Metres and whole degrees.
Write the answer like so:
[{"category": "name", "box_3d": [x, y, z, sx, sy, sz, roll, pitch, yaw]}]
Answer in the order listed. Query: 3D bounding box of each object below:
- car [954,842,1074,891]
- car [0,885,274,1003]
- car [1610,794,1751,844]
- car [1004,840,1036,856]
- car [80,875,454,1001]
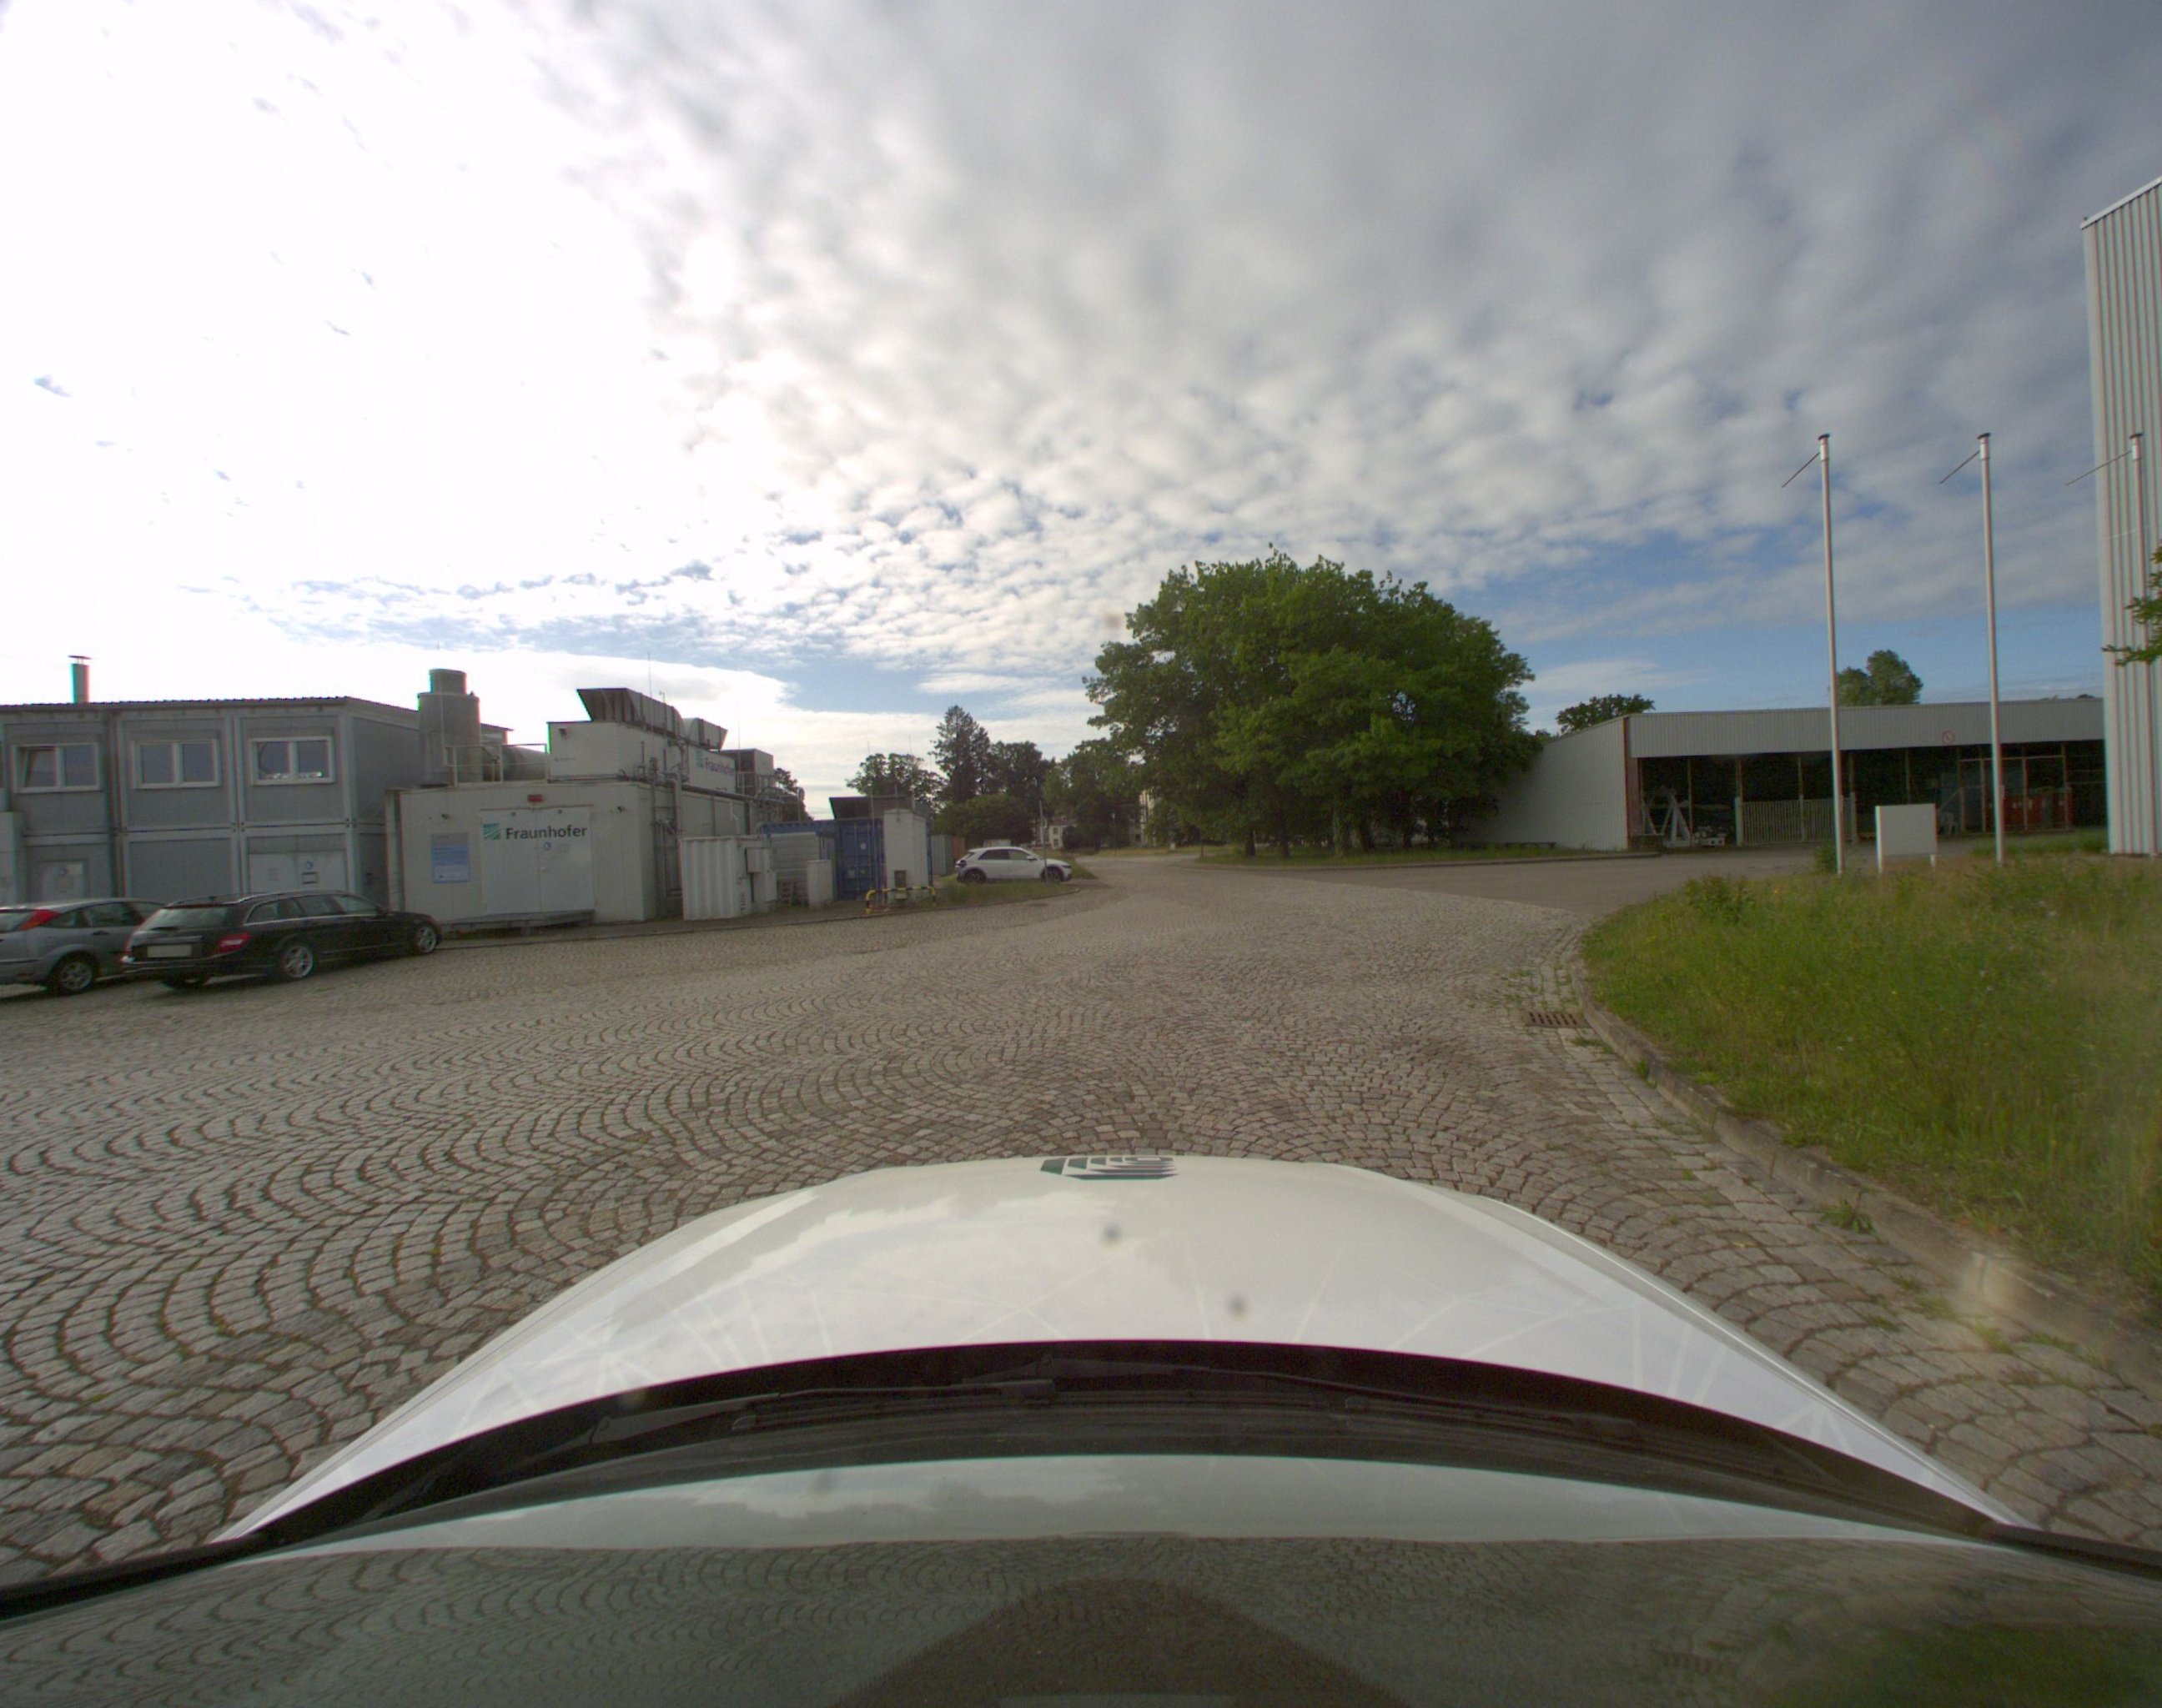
[{"category": "car", "box_3d": [-2.582, 0.468, 32.186, 4.523, 1.599, 1.998, -3, 0, -2]}, {"category": "car", "box_3d": [-16.805, 1.448, 14.042, 1.904, 1.475, 4.038, -3, 2, -6]}, {"category": "car", "box_3d": [27.460, -1.545, 37.592, 2.238, 2.013, 5.326, -3, 0, -5]}, {"category": "car", "box_3d": [-9.948, -0.936, 133.356, 5.162, 2.337, 1.997, -3, 0, -5]}, {"category": "car", "box_3d": [-13.596, 1.277, 14.143, 2.033, 1.453, 4.523, -3, 2, -4]}]
